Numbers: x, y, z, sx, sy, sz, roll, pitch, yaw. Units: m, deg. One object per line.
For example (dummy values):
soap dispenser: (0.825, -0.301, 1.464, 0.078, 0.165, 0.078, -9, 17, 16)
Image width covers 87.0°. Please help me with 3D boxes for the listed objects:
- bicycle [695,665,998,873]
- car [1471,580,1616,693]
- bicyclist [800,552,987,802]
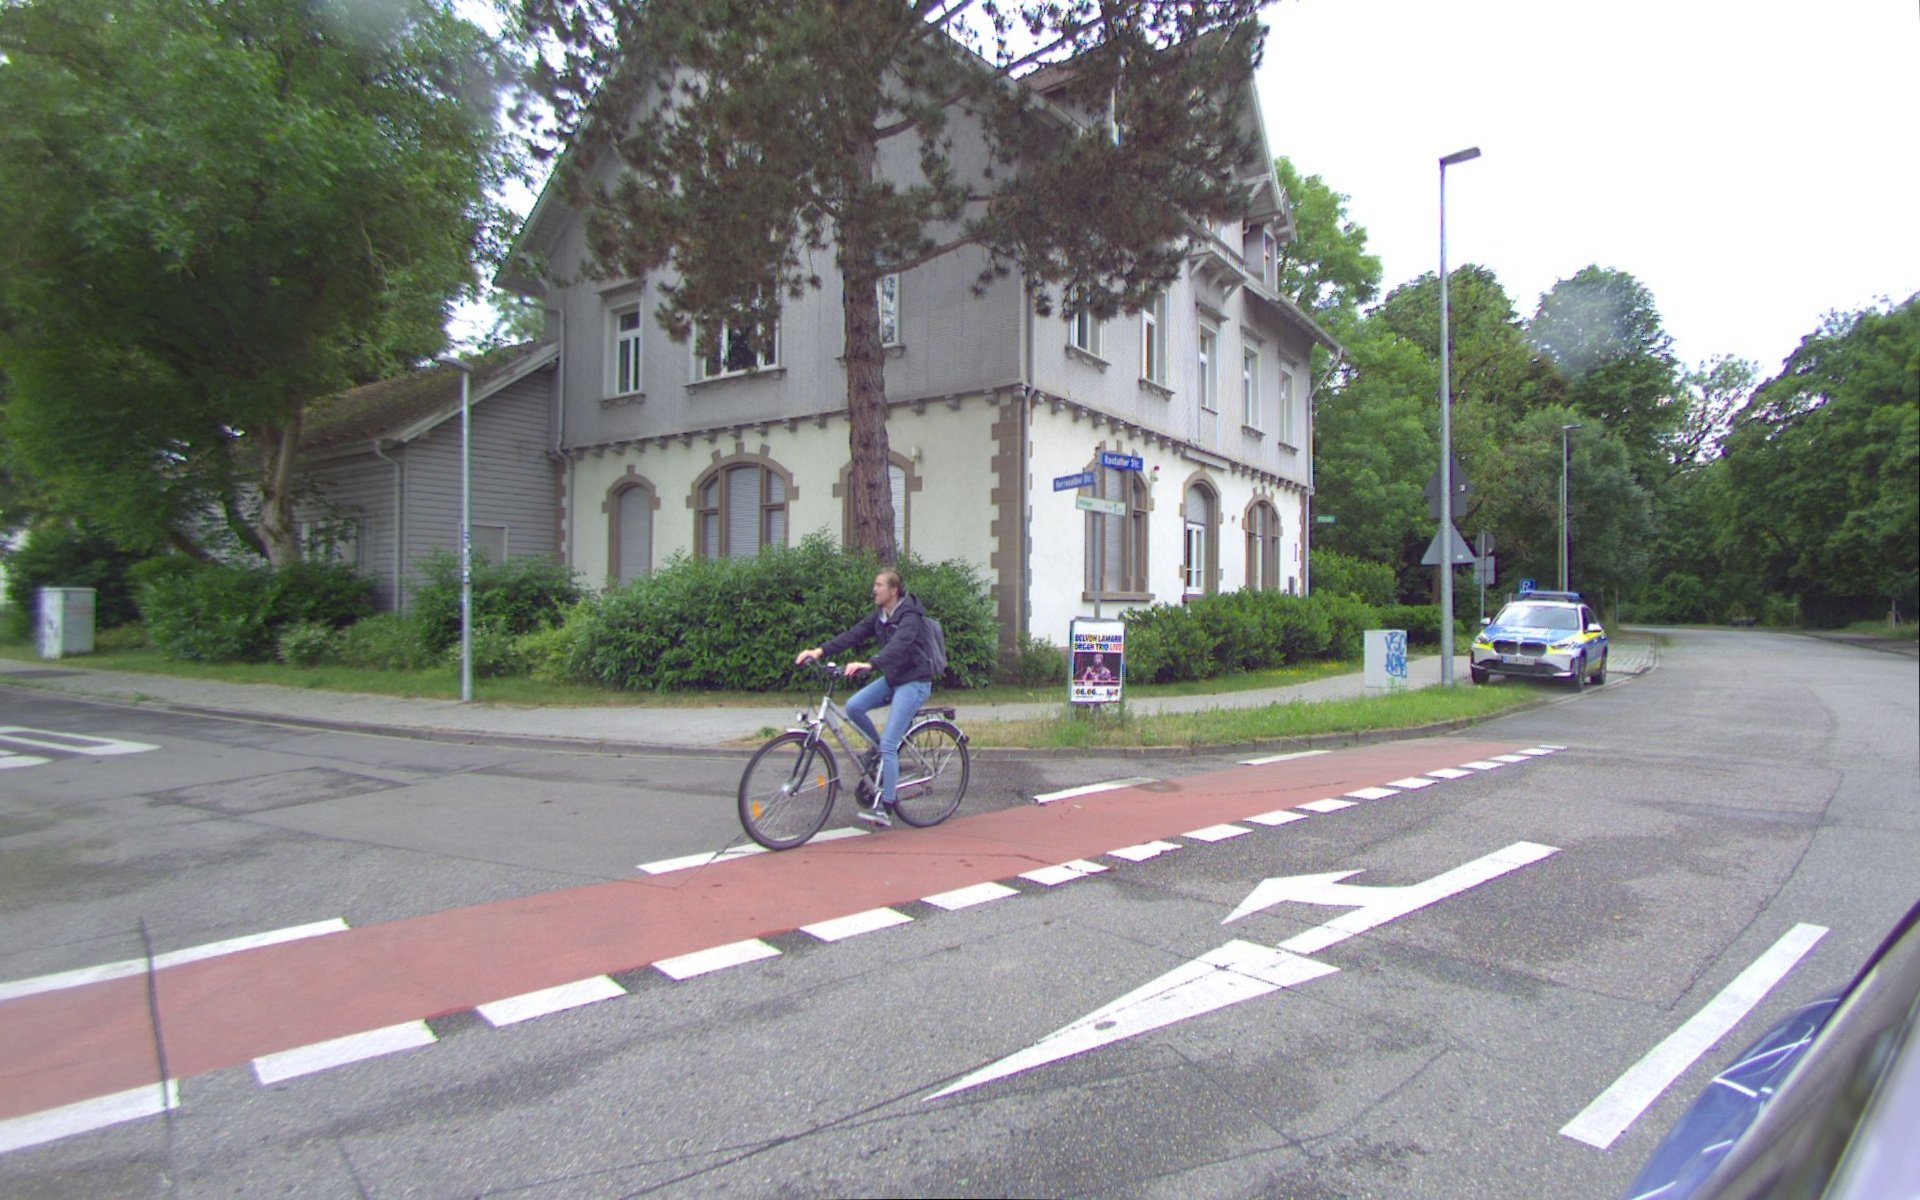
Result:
bicycle: (-0.625, 0.961, 6.245, 1.994, 0.993, 0.383, -1, 0, -41)
car: (11.304, 0.615, 19.493, 1.926, 1.873, 3.947, 3, 1, 37)
bicyclist: (-0.417, 0.459, 6.396, 0.945, 1.443, 0.622, 0, -4, -41)
